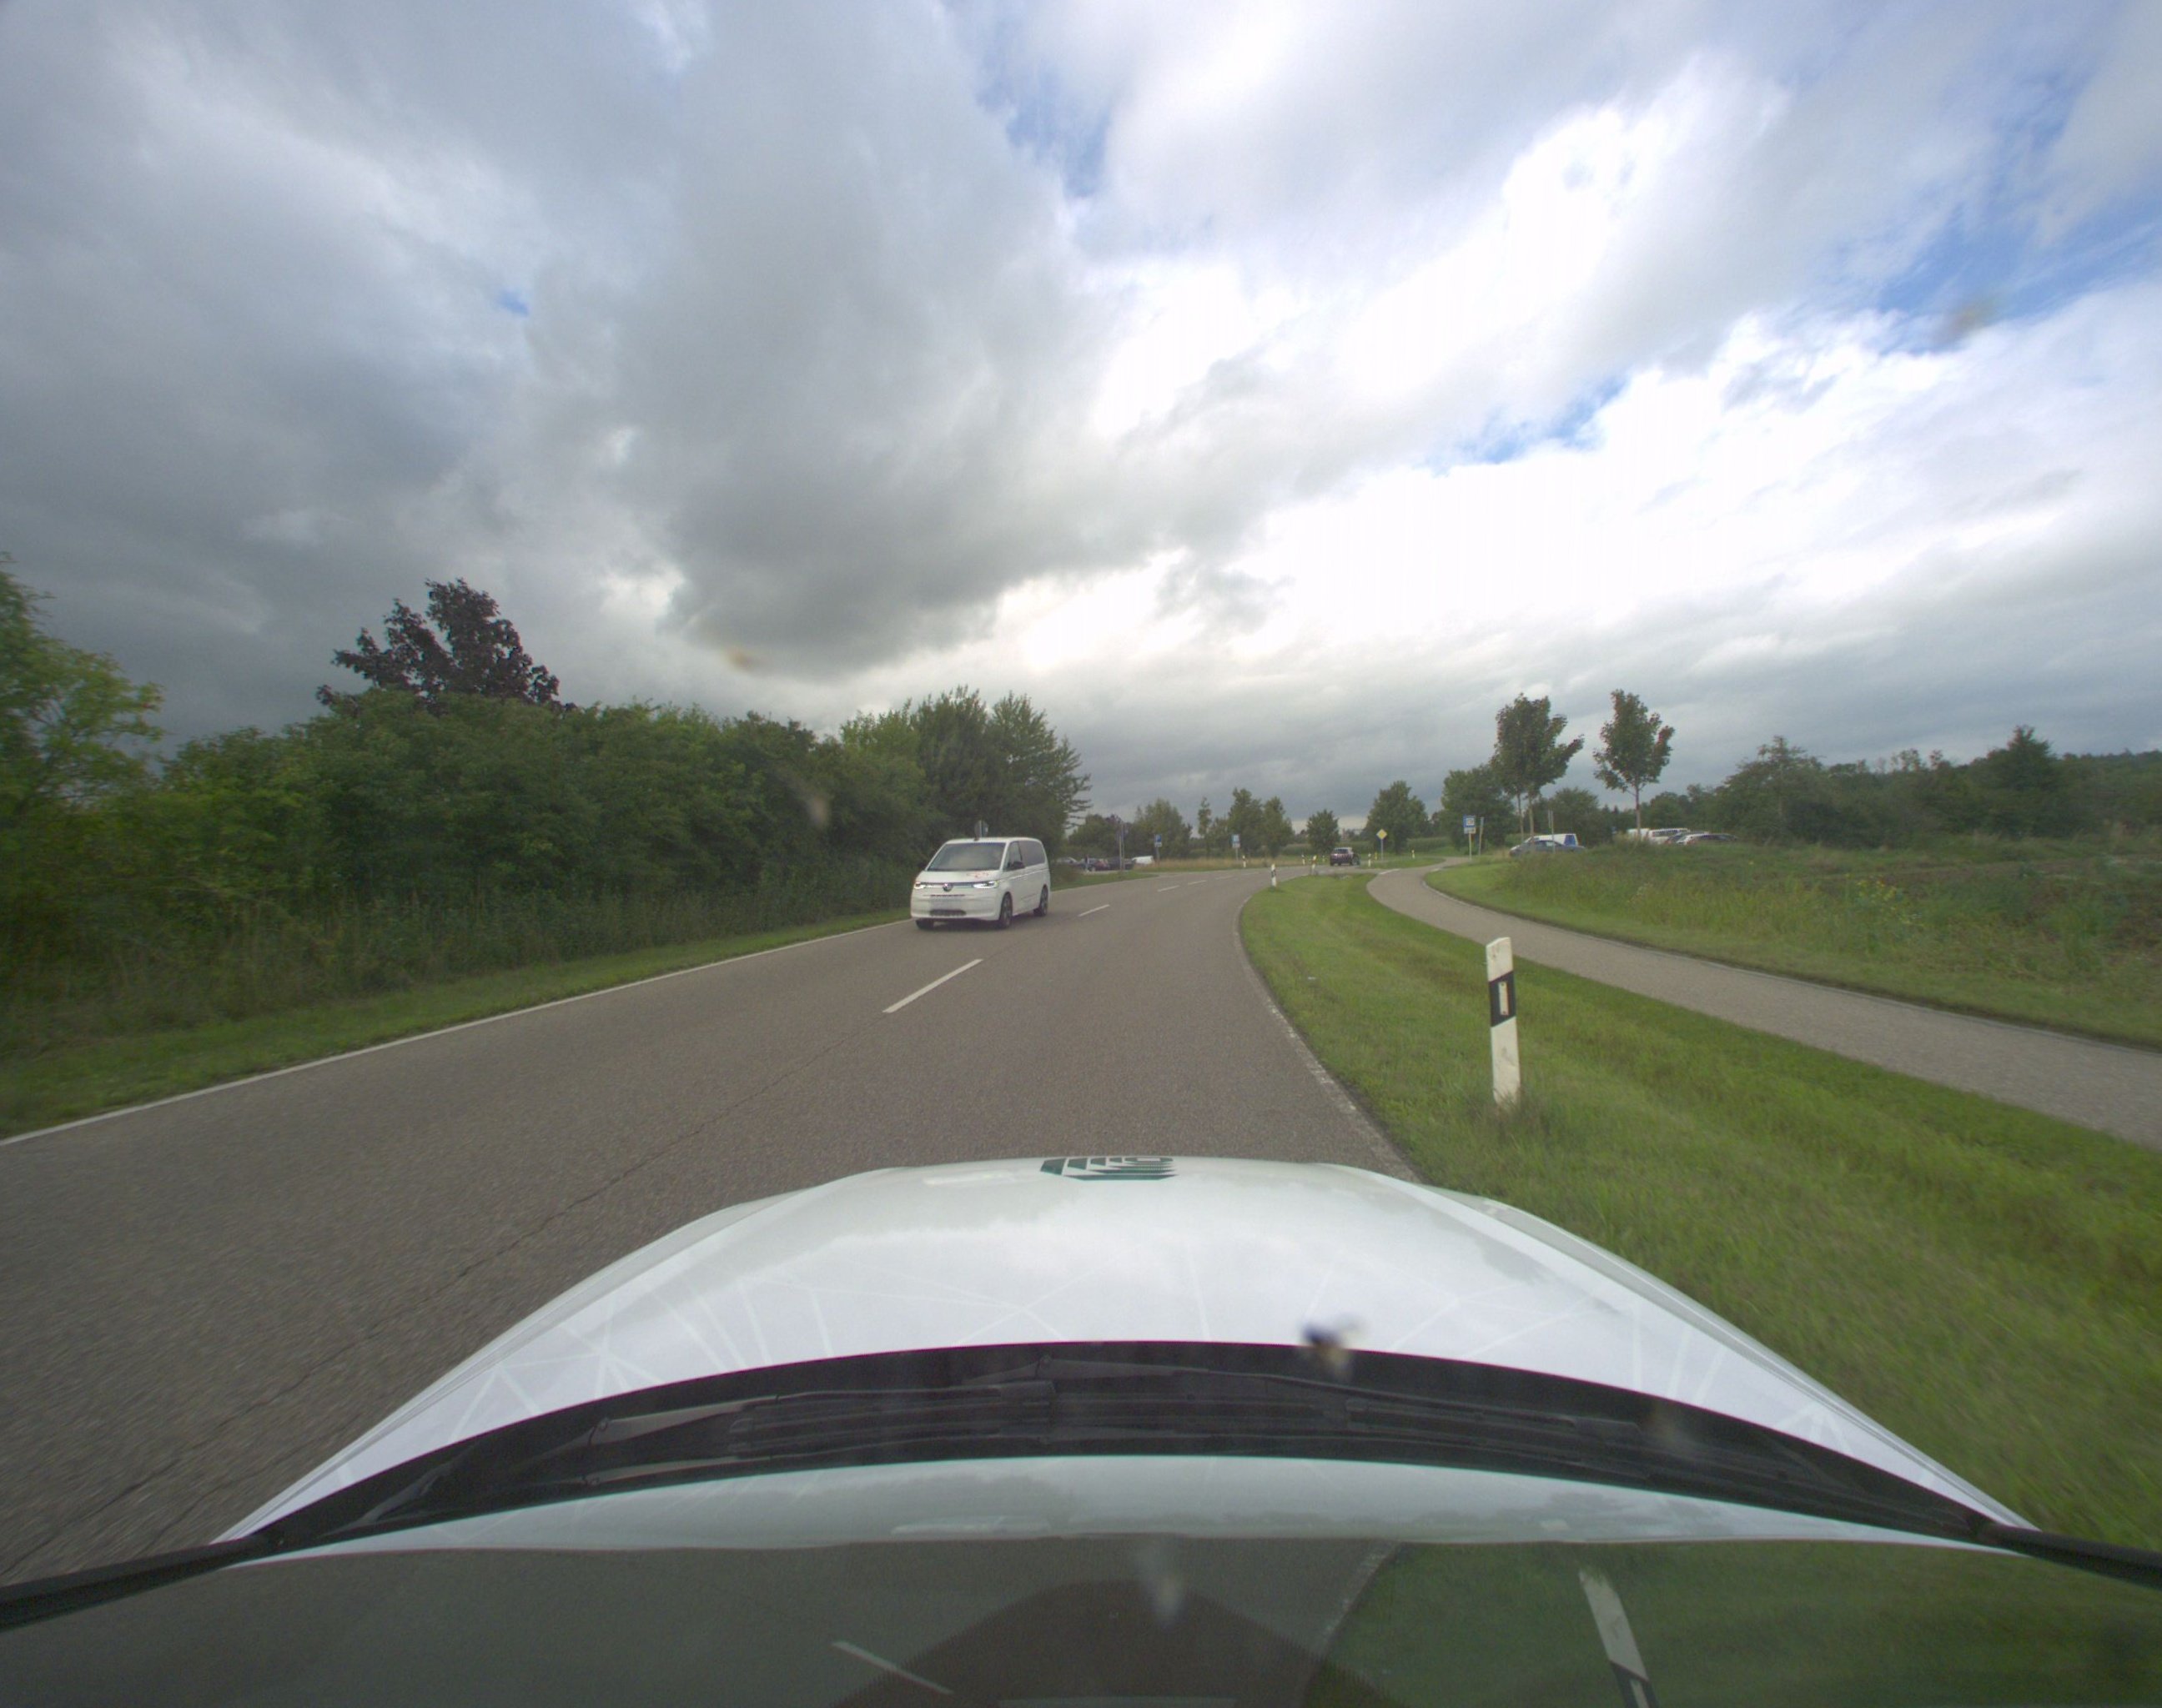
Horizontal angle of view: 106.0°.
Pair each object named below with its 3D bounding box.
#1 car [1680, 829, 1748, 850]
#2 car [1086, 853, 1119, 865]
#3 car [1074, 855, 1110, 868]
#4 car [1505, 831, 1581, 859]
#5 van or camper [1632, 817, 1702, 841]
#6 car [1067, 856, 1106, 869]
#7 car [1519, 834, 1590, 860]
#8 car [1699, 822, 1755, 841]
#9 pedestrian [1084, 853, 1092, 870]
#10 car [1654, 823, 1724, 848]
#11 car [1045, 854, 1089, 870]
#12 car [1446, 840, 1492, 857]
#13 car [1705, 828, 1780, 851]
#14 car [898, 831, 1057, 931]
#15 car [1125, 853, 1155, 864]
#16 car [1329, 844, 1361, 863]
[{"bbox_3d":[47.499,-1.100,61.197,3.654,1.391,1.769,-2,0,23],"label":"car"},{"bbox_3d":[2.669,0.613,100.310,3.967,1.380,1.478,-2,0,5],"label":"car"},{"bbox_3d":[1.321,0.830,94.556,3.968,1.380,1.478,-2,0,5],"label":"car"},{"bbox_3d":[35.264,-0.661,62.257,4.899,1.974,1.967,-2,0,28],"label":"car"},{"bbox_3d":[71.171,-3.044,99.078,6.677,2.562,2.062,-2,0,32],"label":"van or camper"},{"bbox_3d":[0.658,0.958,91.493,3.956,1.380,1.832,-2,0,17],"label":"car"},{"bbox_3d":[33.392,-0.507,57.563,4.231,1.566,1.849,-4,-1,28],"label":"car"},{"bbox_3d":[64.422,-2.231,81.265,3.952,1.596,2.011,-2,0,21],"label":"car"},{"bbox_3d":[0.730,0.779,81.230,0.510,1.667,0.664,-2,-1,20],"label":"pedestrian"},{"bbox_3d":[58.234,-1.745,78.072,4.978,2.000,2.245,-4,-1,27],"label":"car"},{"bbox_3d":[-1.445,0.844,86.031,4.210,1.566,1.765,-2,0,14],"label":"car"},{"bbox_3d":[41.973,-0.553,88.121,4.288,1.575,1.983,-4,-1,27],"label":"car"},{"bbox_3d":[45.067,-0.961,55.588,3.652,1.391,1.740,-2,0,28],"label":"car"},{"bbox_3d":[-2.093,0.521,18.309,2.101,1.869,5.200,-2,0,9],"label":"car"},{"bbox_3d":[8.332,0.666,114.339,3.961,1.380,1.481,-2,0,11],"label":"car"},{"bbox_3d":[21.622,-0.048,66.715,1.824,1.417,4.024,-2,0,27],"label":"car"}]
